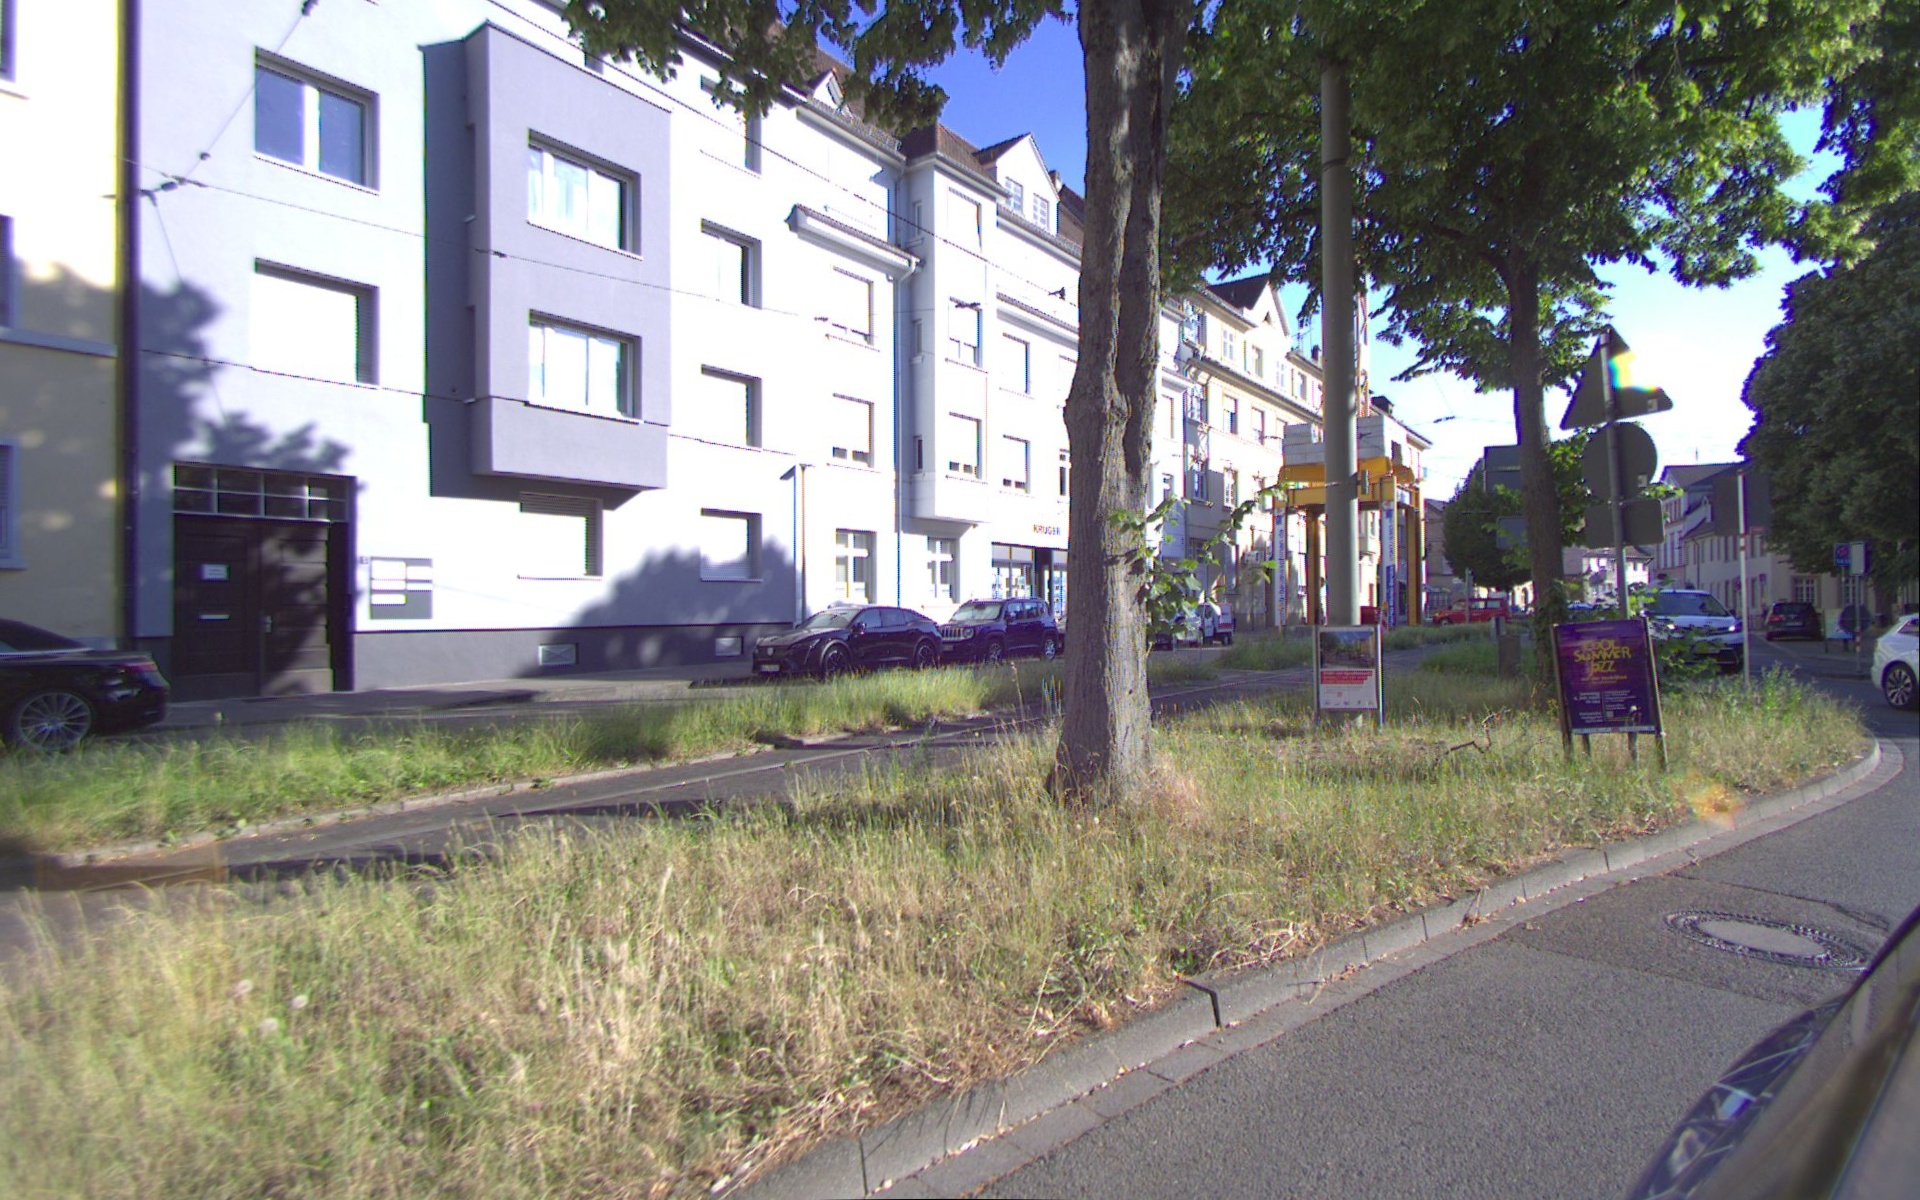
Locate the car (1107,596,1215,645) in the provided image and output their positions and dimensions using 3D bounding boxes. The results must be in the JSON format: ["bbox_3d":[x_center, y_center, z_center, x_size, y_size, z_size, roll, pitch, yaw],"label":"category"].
[{"bbox_3d":[6.614,0.626,33.030,1.988,1.471,4.044,1,0,36],"label":"car"}]

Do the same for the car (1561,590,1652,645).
[{"bbox_3d":[18.781,0.472,29.565,1.983,1.463,4.029,1,0,29],"label":"car"}]

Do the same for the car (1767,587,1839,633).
[{"bbox_3d":[35.134,0.383,42.268,1.988,1.817,3.948,-1,-1,36],"label":"car"}]

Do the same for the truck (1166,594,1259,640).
[{"bbox_3d":[9.340,0.603,37.280,1.988,1.605,4.044,1,0,36],"label":"truck"}]

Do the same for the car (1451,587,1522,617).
[{"bbox_3d":[35.233,0.139,67.790,4.044,1.945,1.975,1,0,34],"label":"car"}]

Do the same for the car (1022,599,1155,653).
[{"bbox_3d":[3.754,0.700,29.022,1.989,1.404,4.151,1,0,38],"label":"car"}]

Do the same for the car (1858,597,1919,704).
[{"bbox_3d":[14.013,0.702,12.715,1.825,1.482,4.758,1,0,10],"label":"car"}]

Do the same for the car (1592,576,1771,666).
[{"bbox_3d":[16.766,0.448,23.843,1.973,1.878,4.874,1,0,17],"label":"car"}]

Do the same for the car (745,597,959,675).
[{"bbox_3d":[-2.089,0.675,20.768,1.987,1.404,4.389,1,0,35],"label":"car"}]

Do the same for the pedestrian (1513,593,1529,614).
[{"bbox_3d":[55.116,0.373,99.382,1.343,2.039,1.147,0,0,28],"label":"pedestrian"}]

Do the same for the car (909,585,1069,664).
[{"bbox_3d":[0.813,0.552,24.954,1.987,1.771,4.155,1,0,35],"label":"car"}]

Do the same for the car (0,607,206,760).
[{"bbox_3d":[-10.080,0.777,9.534,1.987,1.404,4.389,1,0,35],"label":"car"}]
